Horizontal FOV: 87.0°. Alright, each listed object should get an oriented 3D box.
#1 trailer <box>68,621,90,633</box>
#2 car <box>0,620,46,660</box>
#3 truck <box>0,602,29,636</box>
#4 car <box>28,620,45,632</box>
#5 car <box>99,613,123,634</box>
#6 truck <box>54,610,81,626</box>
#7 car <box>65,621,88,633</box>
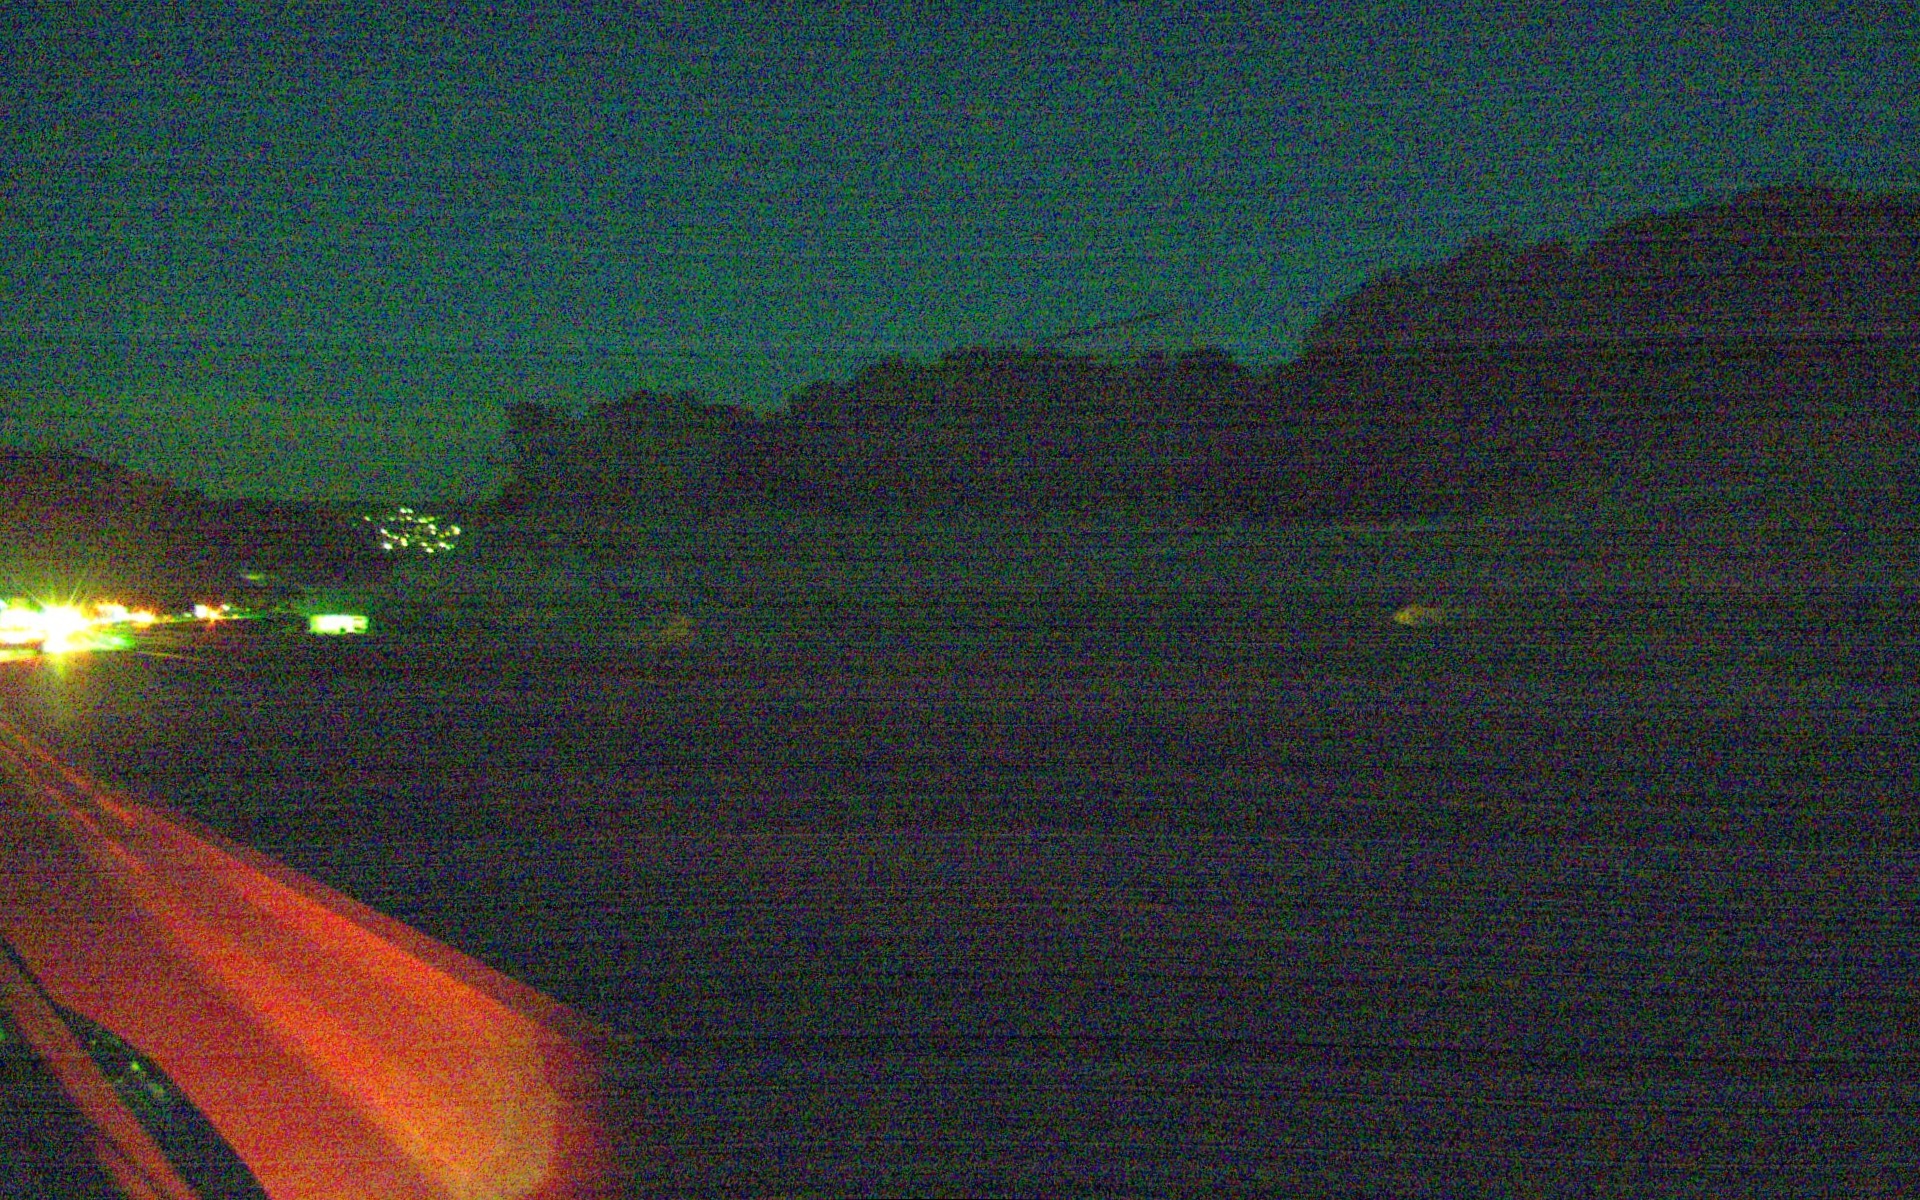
[{"bbox_3d":[-108.395,3.341,124.483,1.862,1.437,3.353,2,-3,-45],"label":"trailer"},{"bbox_3d":[-39.975,1.651,42.632,4.523,1.527,1.799,0,-1,43],"label":"car"},{"bbox_3d":[-129.913,2.469,137.729,2.925,4.307,17.182,1,-1,-37],"label":"truck"},{"bbox_3d":[-143.434,4.054,157.219,1.665,1.641,4.730,2,-3,-39],"label":"car"},{"bbox_3d":[-133.837,3.654,159.613,2.454,3.129,7.401,1,-1,-37],"label":"car"},{"bbox_3d":[-142.255,2.906,161.417,2.388,2.443,7.109,1,-2,-35],"label":"truck"},{"bbox_3d":[-111.295,3.456,127.443,1.890,1.437,4.955,2,-3,-45],"label":"car"}]
